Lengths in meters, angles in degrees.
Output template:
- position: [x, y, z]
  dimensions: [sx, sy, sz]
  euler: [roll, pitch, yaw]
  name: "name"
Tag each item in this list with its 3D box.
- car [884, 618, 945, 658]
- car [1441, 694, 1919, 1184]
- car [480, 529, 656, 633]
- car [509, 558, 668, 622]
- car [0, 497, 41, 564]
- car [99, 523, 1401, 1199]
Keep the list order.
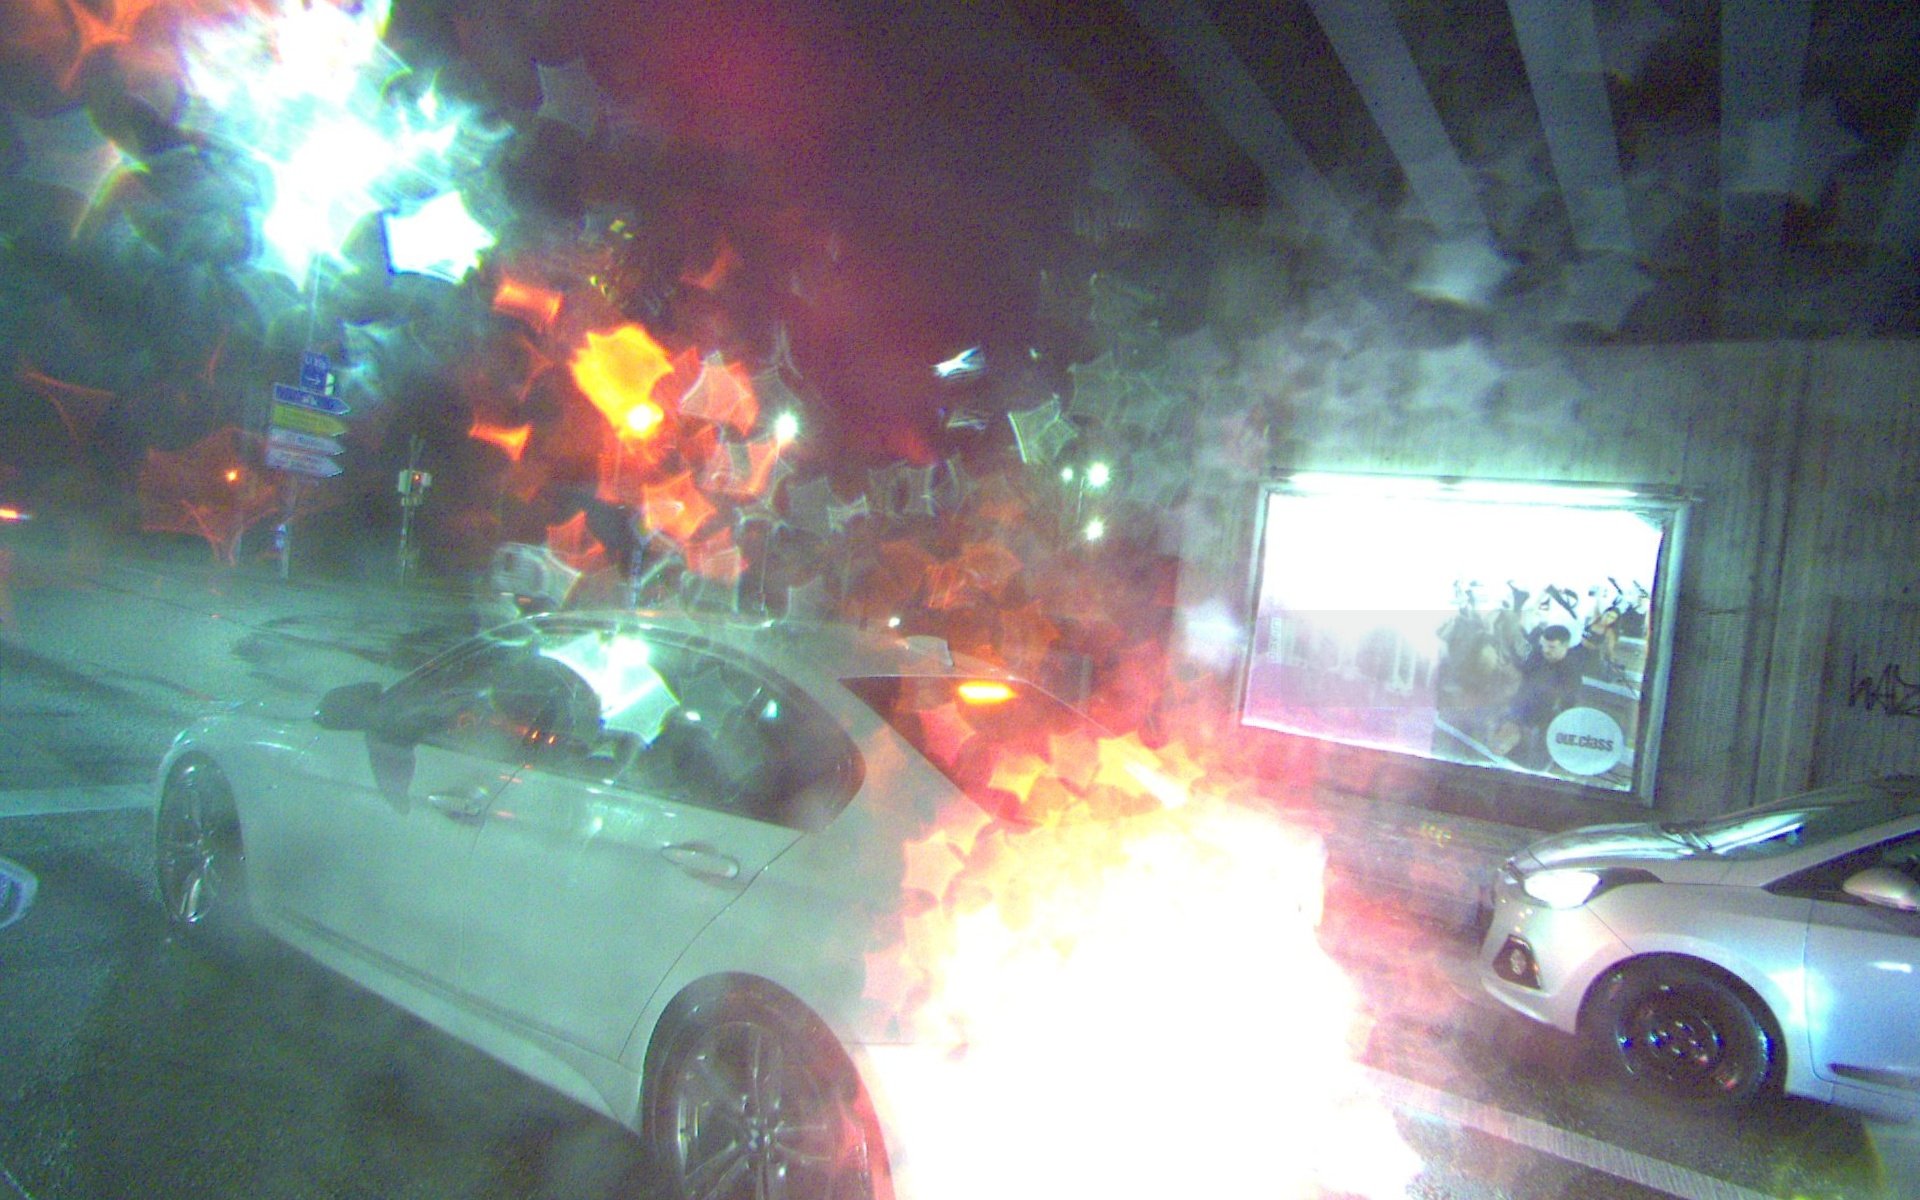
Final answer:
- position: [-2.481, 2.129, 55.523]
  dimensions: [1.658, 1.859, 3.426]
  euler: [6, -2, 28]
  name: "car"
- position: [4.296, 1.406, 3.969]
  dimensions: [4.092, 1.465, 1.722]
  euler: [6, 0, 31]
  name: "car"
- position: [-9.460, -0.396, 24.516]
  dimensions: [1.675, 2.037, 3.564]
  euler: [6, -2, 30]
  name: "car"
- position: [-12.821, -0.306, 35.001]
  dimensions: [1.826, 1.609, 4.850]
  euler: [6, -2, 38]
  name: "car"
- position: [-28.605, -2.183, 28.051]
  dimensions: [3.961, 1.801, 1.892]
  euler: [8, -1, -33]
  name: "car"
- position: [-0.969, 0.684, 3.502]
  dimensions: [4.309, 1.465, 1.722]
  euler: [6, 0, 31]
  name: "car"
